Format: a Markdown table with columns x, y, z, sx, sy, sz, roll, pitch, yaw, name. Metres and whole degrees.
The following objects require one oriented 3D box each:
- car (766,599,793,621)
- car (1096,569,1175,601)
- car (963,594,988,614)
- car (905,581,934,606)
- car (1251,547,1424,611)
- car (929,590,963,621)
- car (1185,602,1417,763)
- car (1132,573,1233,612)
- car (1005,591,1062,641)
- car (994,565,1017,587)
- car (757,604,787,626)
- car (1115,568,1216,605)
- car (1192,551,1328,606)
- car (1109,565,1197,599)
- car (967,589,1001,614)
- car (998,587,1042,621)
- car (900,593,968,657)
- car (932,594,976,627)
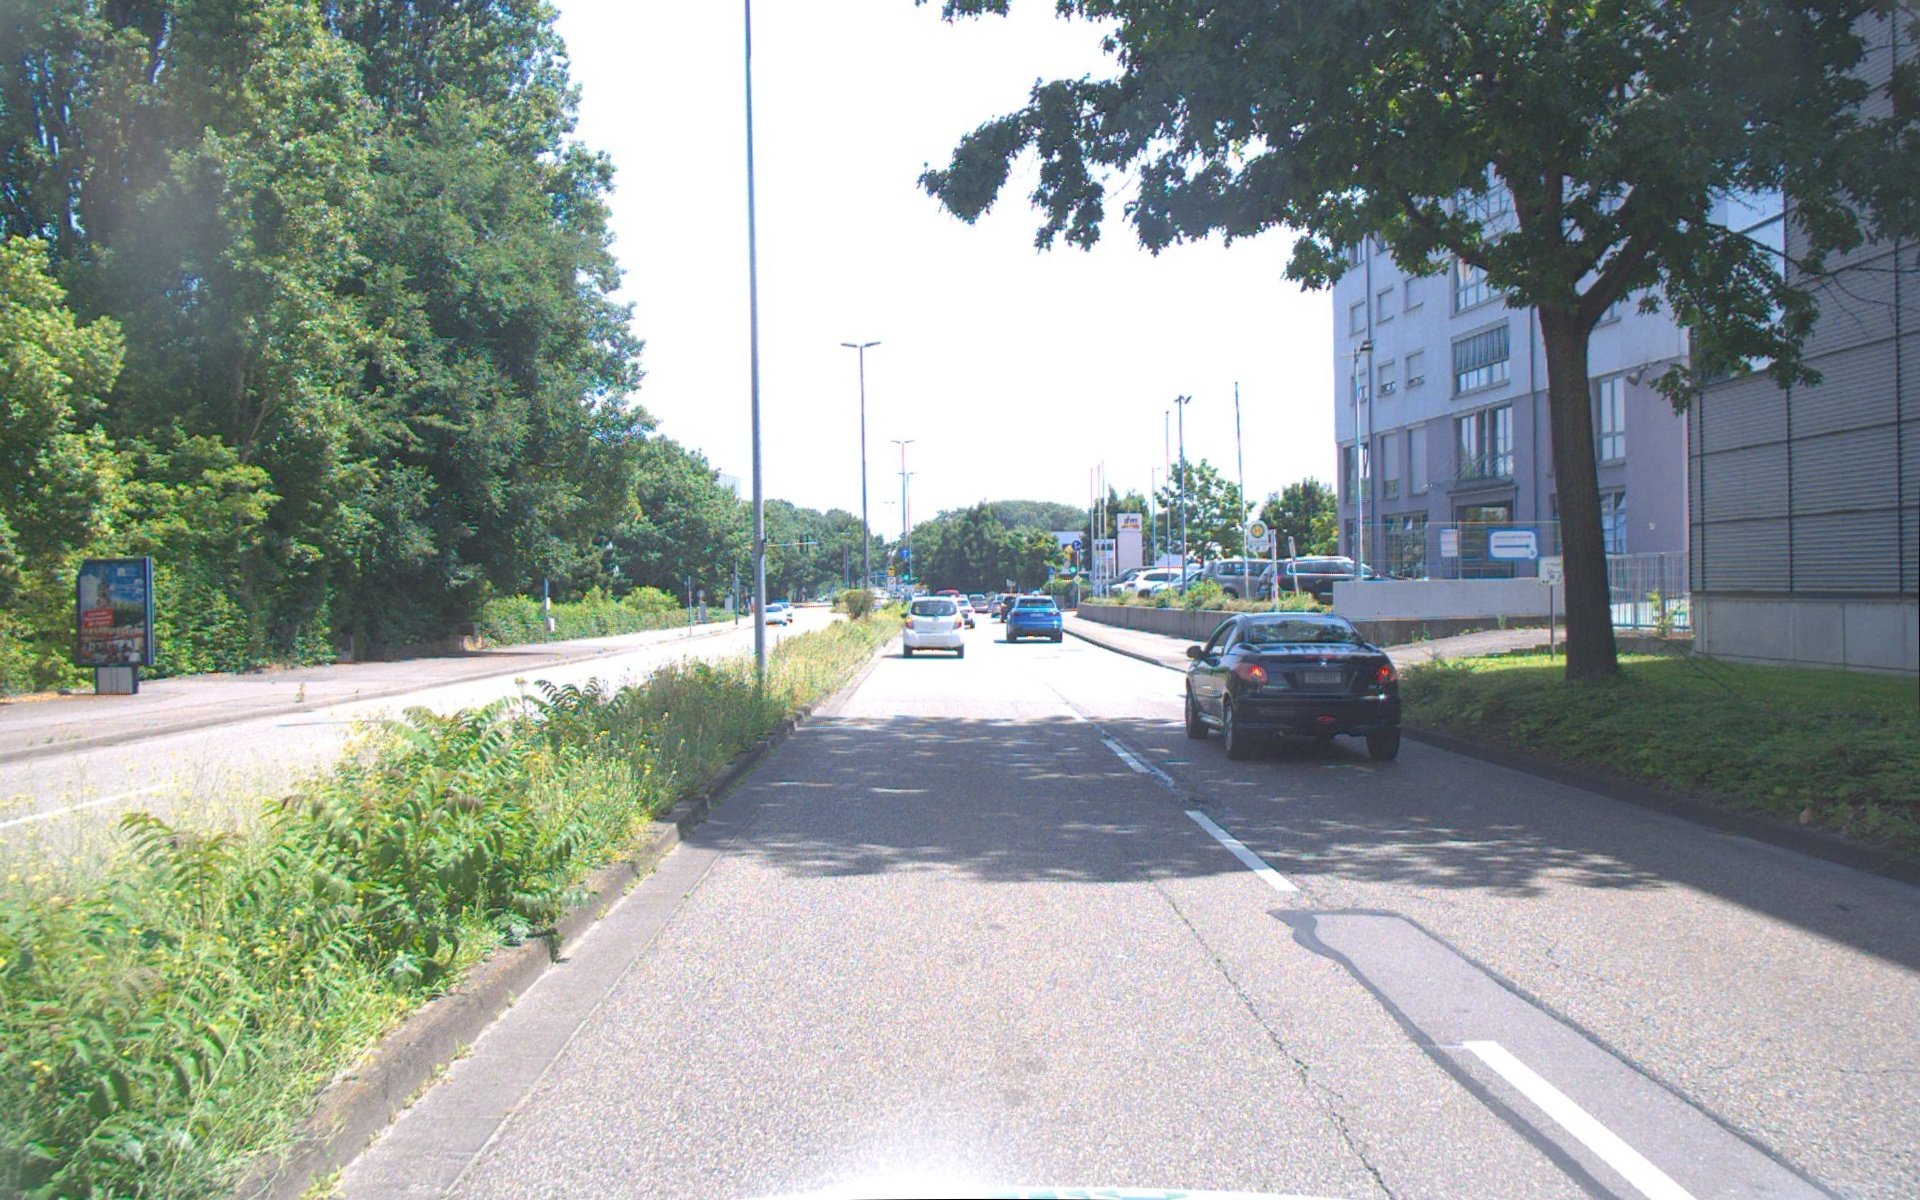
| x | y | z | sx | sy | sz | roll | pitch | yaw | name |
| --- | --- | --- | --- | --- | --- | --- | --- | --- | --- |
| -14.218 | 0.737 | 130.352 | 1.820 | 1.624 | 4.313 | -2 | 0 | -4 | car |
| 9.426 | -0.800 | 89.100 | 3.908 | 1.571 | 1.999 | -2 | 0 | -3 | car |
| 1.279 | 0.329 | 138.788 | 1.953 | 1.534 | 3.999 | -2 | 0 | -2 | car |
| -2.900 | -0.464 | 117.921 | 1.784 | 1.691 | 3.996 | -2 | 1 | -5 | car |
| 10.708 | -0.588 | 47.089 | 4.409 | 1.610 | 1.999 | -2 | 0 | -2 | car |
| -0.867 | 0.331 | 99.687 | 1.741 | 1.770 | 3.996 | -2 | 0 | -4 | car |
| 3.350 | 0.755 | 16.849 | 1.594 | 1.388 | 3.605 | 0 | 1 | 0 | car |
| 9.382 | -0.306 | 69.704 | 3.868 | 1.477 | 1.752 | -2 | 0 | -23 | car |
| 2.489 | 0.520 | 56.940 | 1.790 | 1.607 | 3.605 | -1 | 1 | 0 | car |
| 4.331 | -2.265 | 157.346 | 1.735 | 2.048 | 3.987 | -2 | 1 | -4 | car |
| -12.809 | 0.996 | 112.769 | 1.701 | 1.437 | 4.369 | -2 | 0 | -3 | car |
| 9.629 | -0.635 | 77.672 | 4.443 | 1.571 | 1.999 | -2 | 0 | -2 | car |
| 10.099 | -0.721 | 55.810 | 4.142 | 1.676 | 1.999 | -2 | 0 | -2 | car |
| 10.042 | -0.943 | 86.282 | 4.260 | 1.571 | 1.999 | -2 | 0 | -3 | car |
| 1.467 | 0.103 | 102.305 | 1.953 | 1.445 | 3.999 | -2 | 0 | -1 | car |
| 3.076 | 0.191 | 85.163 | 1.953 | 1.668 | 3.999 | -2 | 0 | -2 | car |
| -0.647 | 0.619 | 43.438 | 1.712 | 1.546 | 3.746 | 0 | 1 | 0 | car |
| -0.324 | 0.482 | 78.409 | 1.953 | 1.467 | 3.999 | -2 | 0 | -2 | car |
